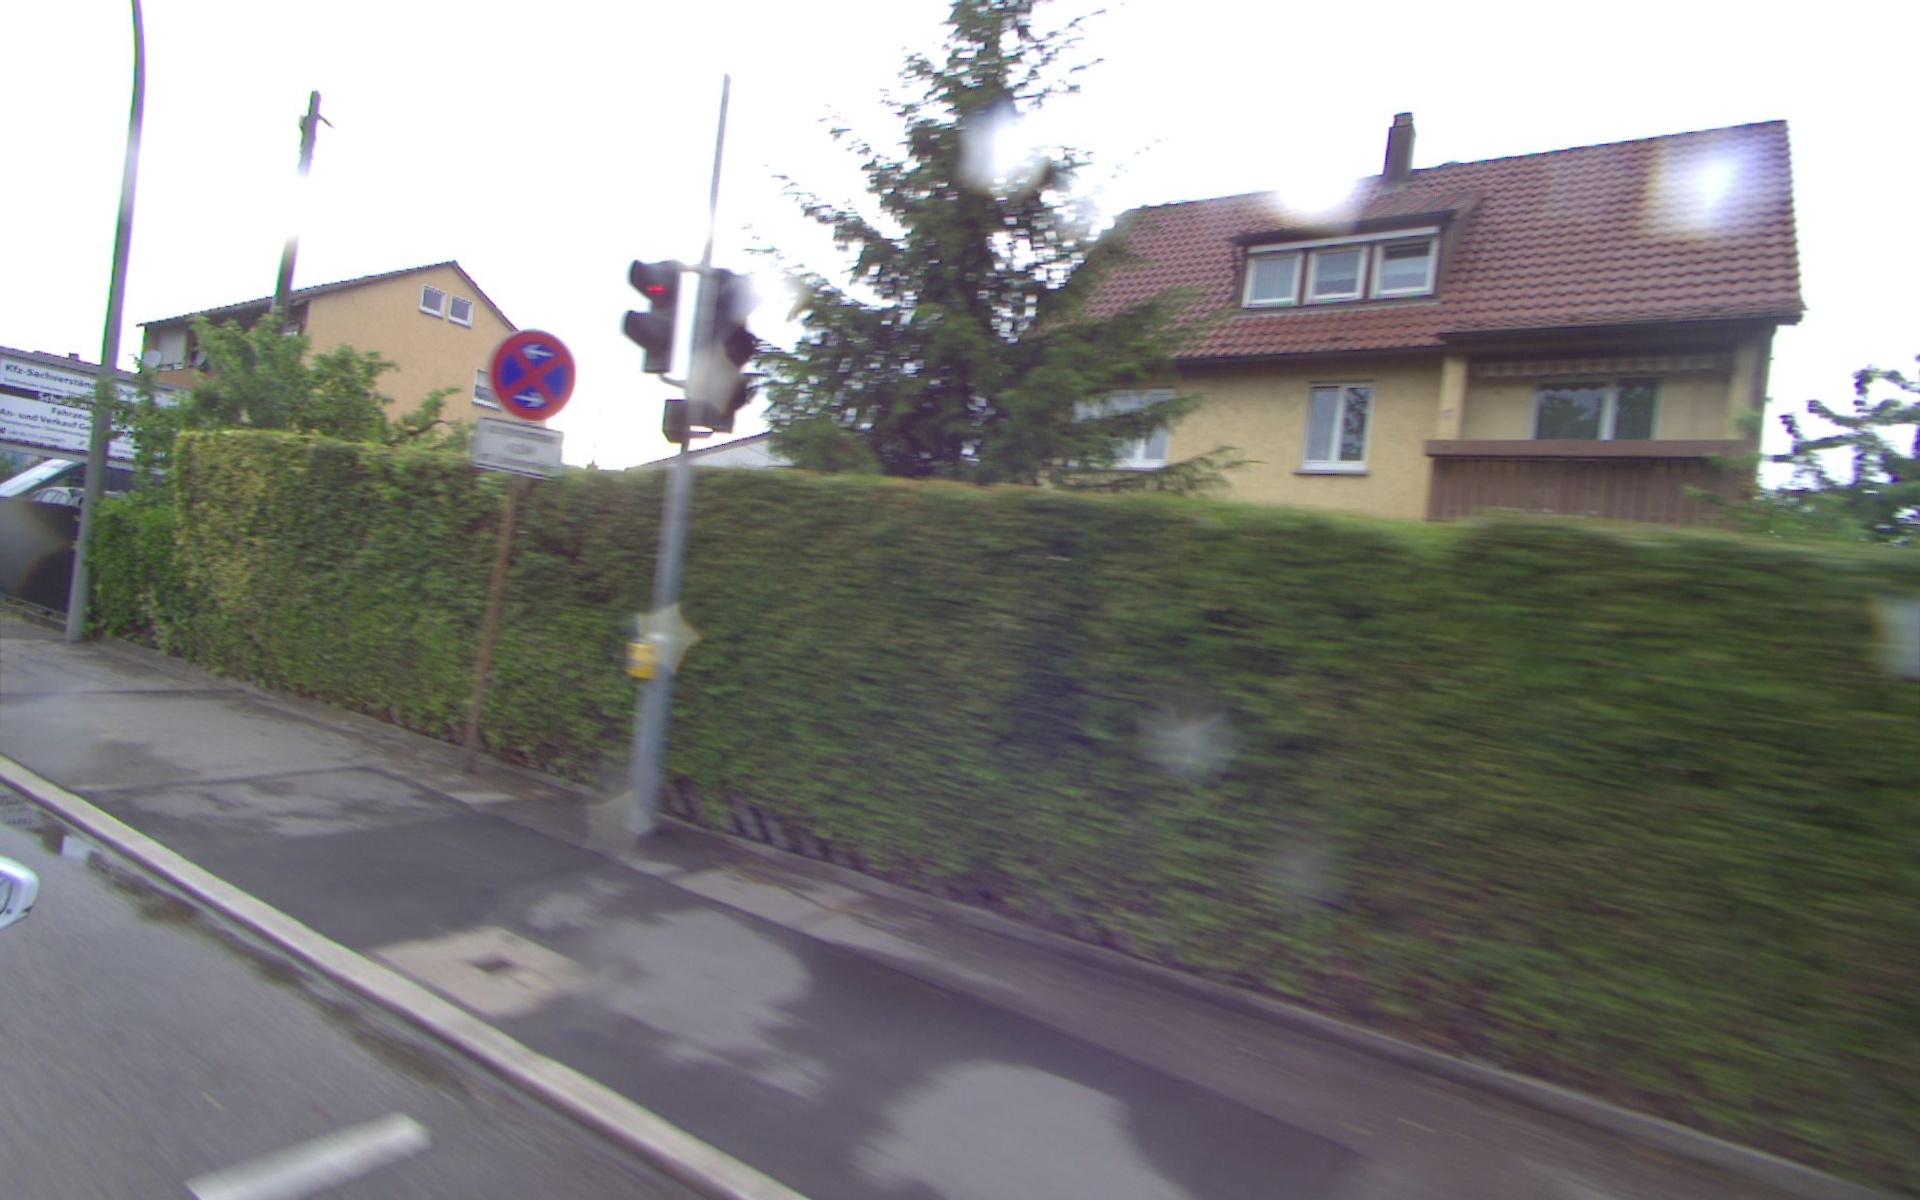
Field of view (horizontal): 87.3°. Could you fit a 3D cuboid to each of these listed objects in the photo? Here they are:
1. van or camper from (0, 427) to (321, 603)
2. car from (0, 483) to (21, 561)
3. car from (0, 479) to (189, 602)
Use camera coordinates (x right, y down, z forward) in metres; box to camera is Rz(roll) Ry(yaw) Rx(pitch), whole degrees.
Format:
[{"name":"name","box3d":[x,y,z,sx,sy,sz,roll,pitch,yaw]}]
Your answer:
[{"name":"van or camper","box3d":[-16.653,-1.590,20.206,2.098,2.512,5.914,4,-4,34]},{"name":"car","box3d":[-23.417,-1.912,23.318,2.118,1.668,5.172,11,-6,-44]},{"name":"car","box3d":[-14.631,-0.982,16.658,4.498,1.583,1.664,4,-5,37]}]
